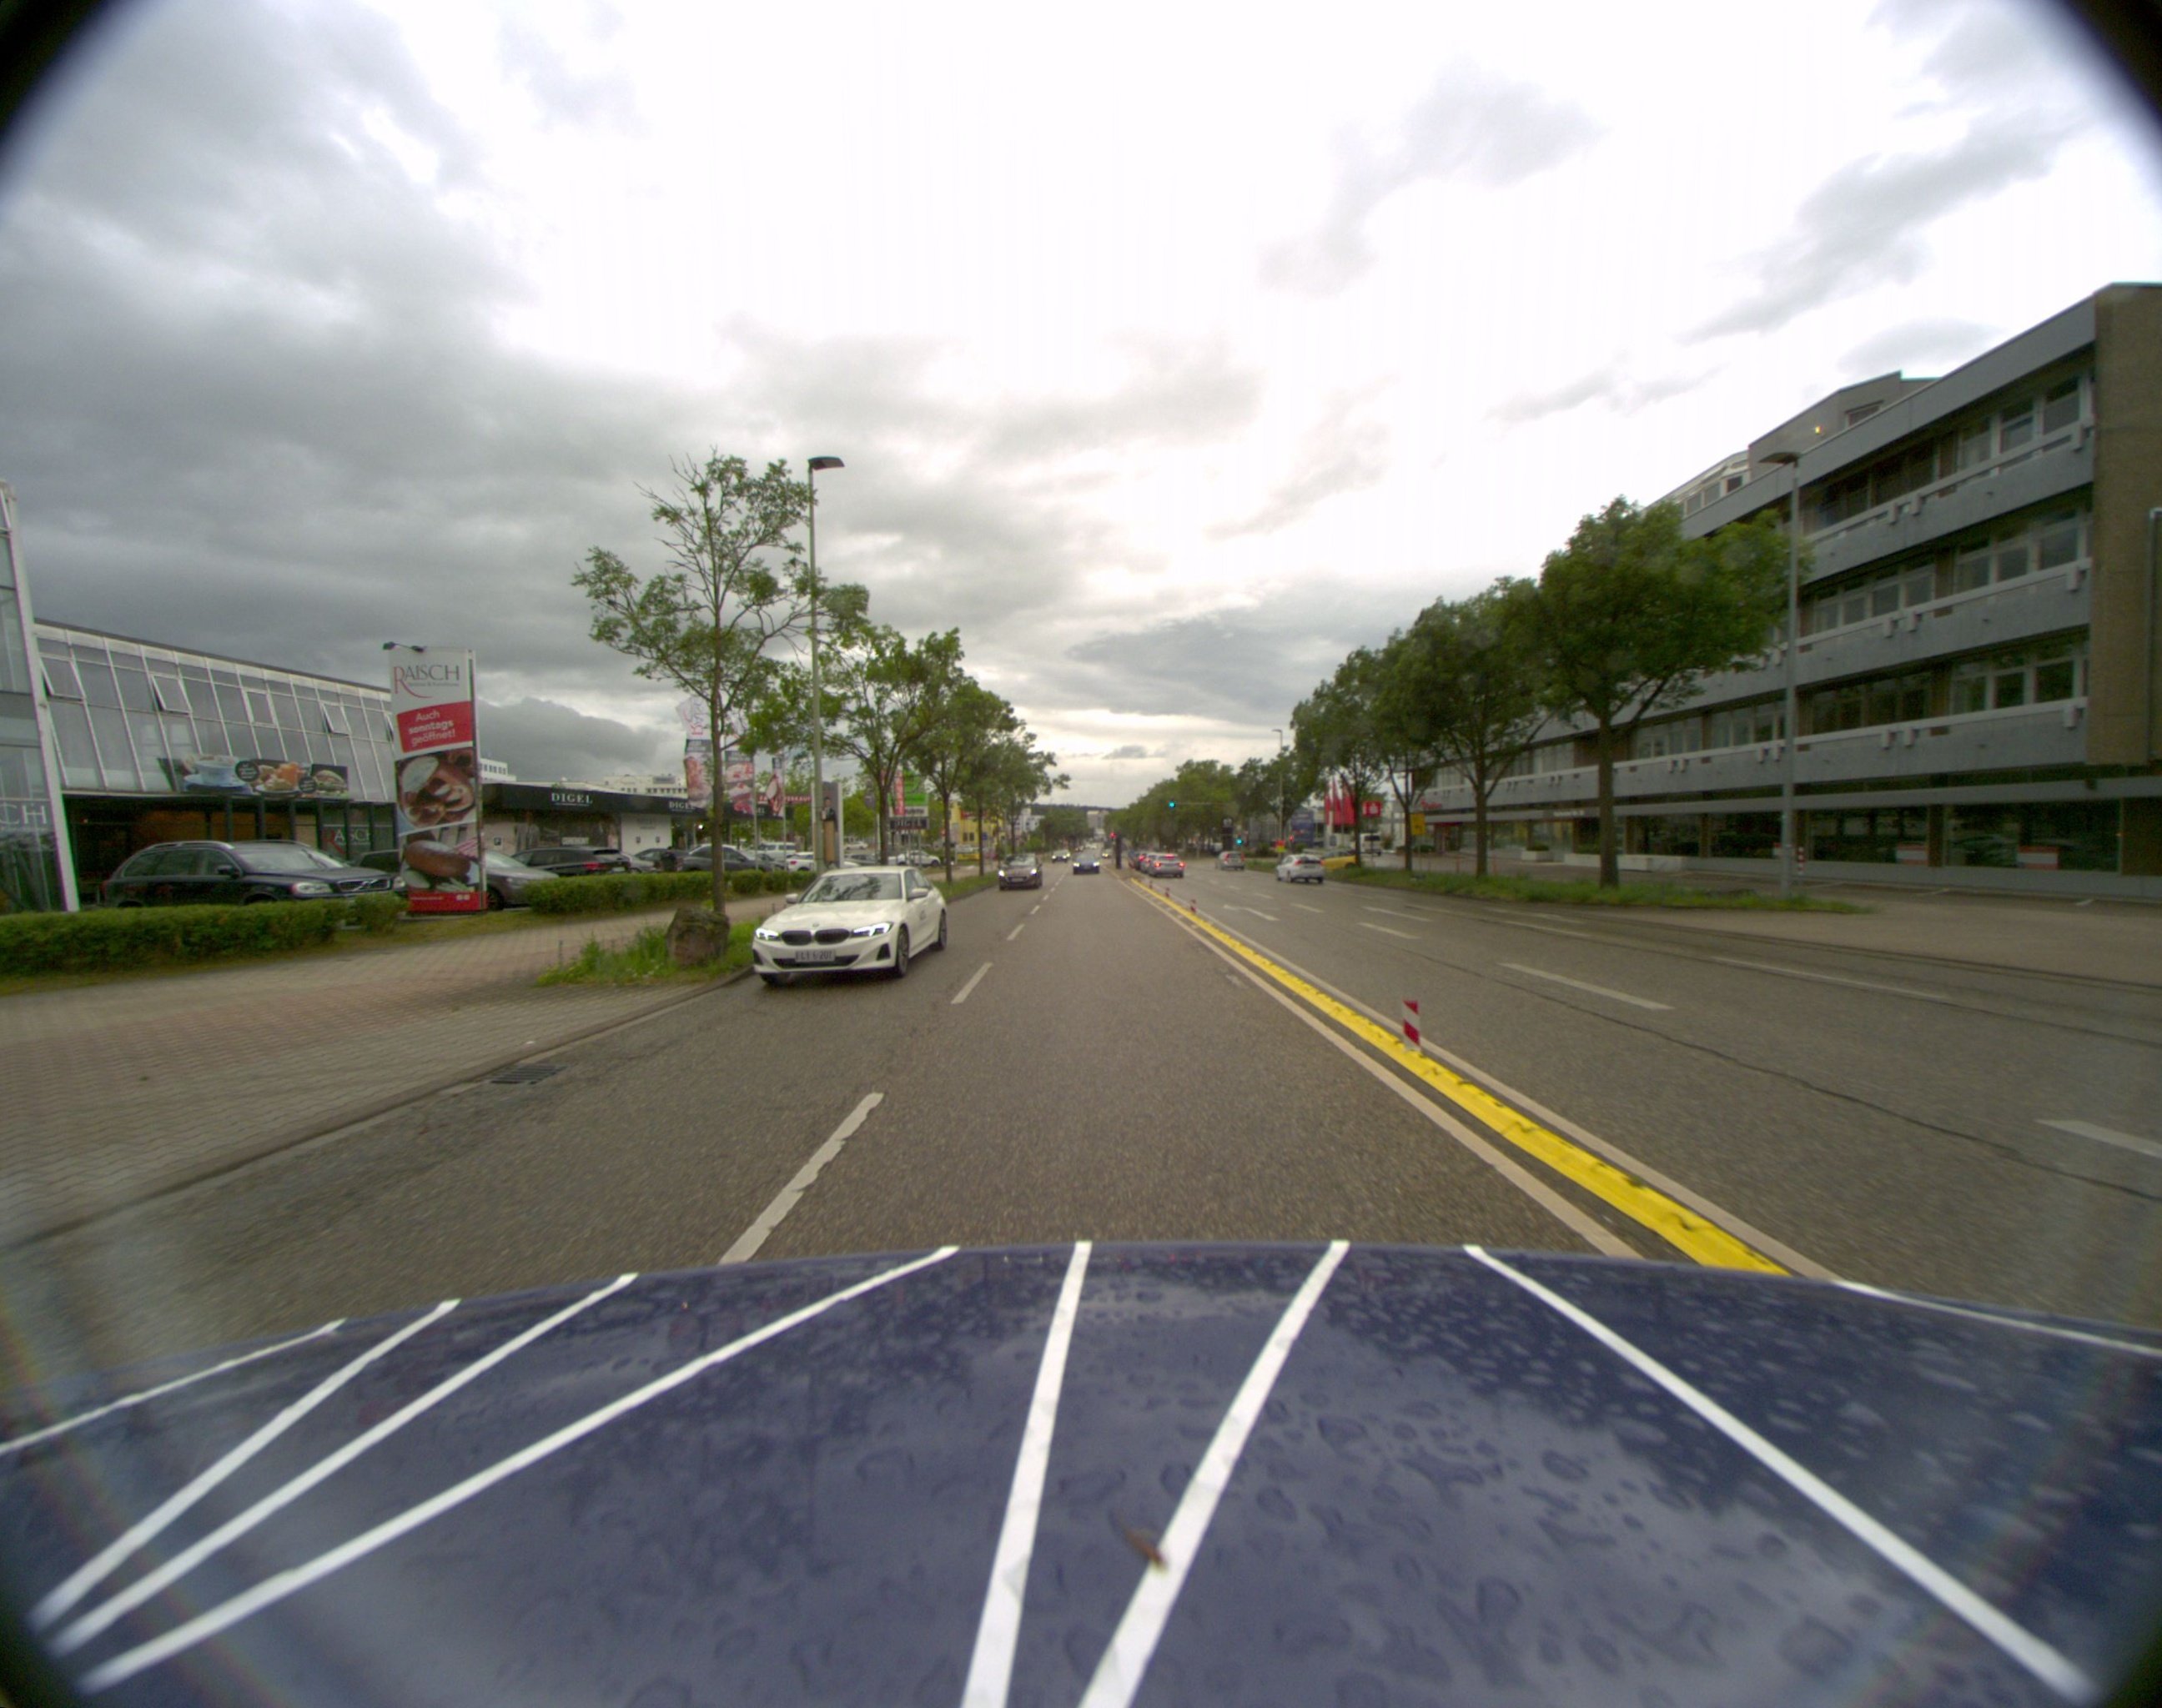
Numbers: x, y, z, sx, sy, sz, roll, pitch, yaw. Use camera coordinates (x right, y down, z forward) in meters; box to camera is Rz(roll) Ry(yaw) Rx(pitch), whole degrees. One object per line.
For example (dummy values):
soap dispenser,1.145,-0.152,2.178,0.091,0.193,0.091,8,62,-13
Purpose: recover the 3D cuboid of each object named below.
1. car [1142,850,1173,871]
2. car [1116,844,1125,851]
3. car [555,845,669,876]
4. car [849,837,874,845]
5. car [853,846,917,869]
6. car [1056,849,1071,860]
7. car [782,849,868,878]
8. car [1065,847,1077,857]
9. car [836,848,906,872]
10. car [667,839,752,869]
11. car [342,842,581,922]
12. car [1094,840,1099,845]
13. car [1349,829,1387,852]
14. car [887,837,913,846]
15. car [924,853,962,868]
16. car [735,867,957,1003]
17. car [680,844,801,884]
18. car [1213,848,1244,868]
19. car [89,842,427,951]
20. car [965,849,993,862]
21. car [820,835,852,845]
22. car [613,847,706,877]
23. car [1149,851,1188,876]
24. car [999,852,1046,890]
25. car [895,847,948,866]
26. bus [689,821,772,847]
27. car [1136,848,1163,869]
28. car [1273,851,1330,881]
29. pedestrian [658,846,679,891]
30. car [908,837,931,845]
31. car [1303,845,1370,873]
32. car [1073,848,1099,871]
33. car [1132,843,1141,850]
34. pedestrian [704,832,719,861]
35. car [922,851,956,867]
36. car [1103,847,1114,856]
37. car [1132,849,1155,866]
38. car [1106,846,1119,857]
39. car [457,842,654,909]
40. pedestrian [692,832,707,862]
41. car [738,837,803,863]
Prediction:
car,5.260,0.445,52.759,1.745,1.398,3.999,0,1,0
car,8.842,-1.463,171.237,1.753,1.501,4.000,0,1,1
car,-22.974,0.336,37.276,4.508,1.388,1.794,1,2,-41
car,-43.257,-2.471,149.748,4.221,1.572,1.823,0,1,1
car,-14.481,0.291,56.271,4.186,1.570,1.738,2,1,-37
car,-2.239,0.049,98.171,1.753,1.501,4.000,0,1,1
car,-14.342,0.551,42.654,4.191,1.464,1.785,2,1,-35
car,-1.583,-0.285,116.601,1.753,1.501,4.000,0,1,1
car,-13.800,0.395,49.998,4.028,1.429,1.738,1,1,-42
car,-23.131,0.017,47.382,4.507,1.672,1.794,2,2,-37
car,-14.310,0.608,17.689,4.177,1.591,1.828,2,1,4
car,4.901,-3.586,241.977,1.753,1.501,4.000,0,1,2
car,26.325,-1.219,69.904,1.997,2.002,4.886,1,1,6
car,-31.975,-2.202,134.315,3.997,1.501,1.800,0,1,1
car,-15.305,0.732,84.397,3.998,1.502,1.742,-2,3,-4
car,-3.178,1.003,11.333,1.808,1.432,4.541,-3,0,0
car,-14.140,0.402,31.749,4.179,1.464,1.862,2,1,1
car,12.024,0.263,62.069,1.745,1.544,4.782,1,1,2
car,-14.592,0.666,13.572,4.662,1.591,1.928,2,1,11
car,-15.114,0.215,112.116,4.001,1.802,1.766,0,1,-11
car,-44.434,-2.500,137.851,5.092,1.787,2.034,0,1,1
car,-22.542,0.435,40.731,4.052,1.470,1.794,1,2,-42
car,5.170,0.517,45.489,1.788,1.398,4.616,0,1,0
car,-2.658,0.734,35.500,1.799,1.572,4.218,-3,0,0
car,-14.271,0.197,68.205,4.324,1.570,1.738,1,1,-45
bus,-53.026,-2.905,115.978,4.101,3.493,17.333,0,0,2
car,5.309,0.332,59.473,1.753,1.516,4.000,0,1,1
car,11.355,0.567,39.441,1.745,1.398,4.468,1,1,2
pedestrian,-17.036,0.587,31.374,0.634,1.779,0.849,-3,2,-28
car,-31.289,-2.475,147.425,3.997,1.501,1.800,0,1,1
car,16.428,0.319,48.927,3.701,1.500,1.624,-3,2,37
car,0.325,0.367,54.755,1.799,1.572,4.218,-3,0,-1
car,12.764,-1.803,174.312,1.753,1.566,4.000,0,1,1
pedestrian,-26.472,-0.525,54.495,0.613,2.002,0.657,-3,2,1
car,-14.097,0.487,75.272,1.747,1.570,3.864,0,-1,-39
car,4.564,-0.498,127.398,1.753,1.501,4.000,0,1,1
car,5.676,0.267,69.190,1.753,1.501,4.000,0,1,1
car,4.785,-0.389,115.573,1.753,1.501,4.000,0,1,1
car,-14.227,0.554,20.697,4.177,1.591,1.800,2,1,4
pedestrian,-26.432,-0.497,52.659,0.613,2.002,0.657,-3,2,1
car,-23.348,-0.278,57.195,4.125,1.736,1.794,1,2,-43
